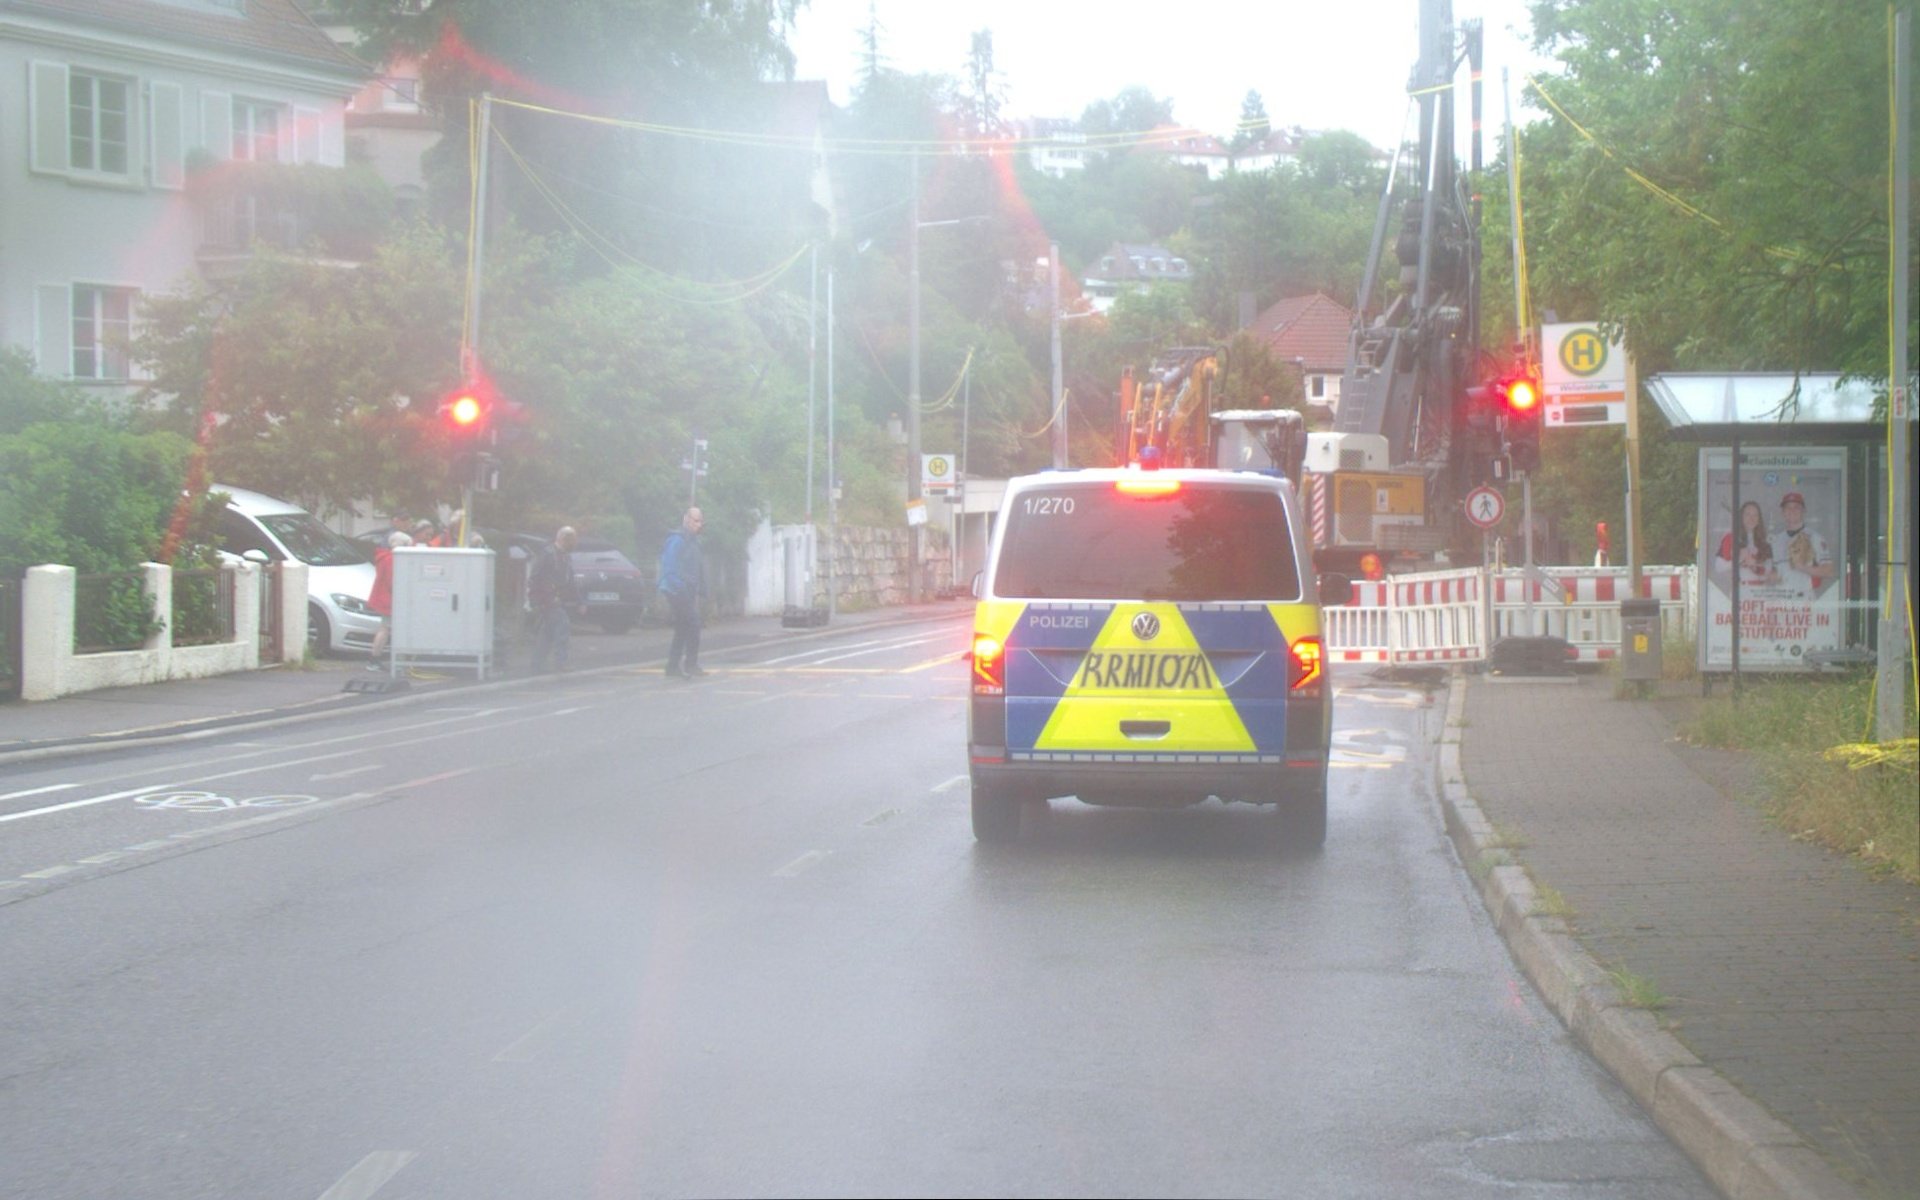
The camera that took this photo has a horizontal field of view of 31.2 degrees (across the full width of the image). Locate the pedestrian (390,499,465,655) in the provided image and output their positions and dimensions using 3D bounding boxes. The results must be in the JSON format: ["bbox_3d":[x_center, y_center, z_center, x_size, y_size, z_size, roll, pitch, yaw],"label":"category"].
[{"bbox_3d":[-5.985,-0.251,38.671,0.626,1.709,0.592,2,-1,6],"label":"pedestrian"}]

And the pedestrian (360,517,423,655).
[{"bbox_3d":[-6.303,-0.151,38.124,0.525,1.502,0.429,2,-1,6],"label":"pedestrian"}]

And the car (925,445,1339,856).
[{"bbox_3d":[1.081,0.202,19.087,1.994,2.007,4.401,0,1,7],"label":"car"}]

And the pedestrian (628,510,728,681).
[{"bbox_3d":[-3.030,-0.041,36.976,0.890,1.781,0.828,2,-1,3],"label":"pedestrian"}]

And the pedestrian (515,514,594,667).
[{"bbox_3d":[-4.349,-0.099,36.907,0.686,1.598,0.605,2,-1,3],"label":"pedestrian"}]

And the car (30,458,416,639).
[{"bbox_3d":[-8.601,-0.608,40.187,3.990,2.007,1.829,1,1,16],"label":"car"}]

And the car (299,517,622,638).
[{"bbox_3d":[-6.882,-0.307,47.519,3.990,1.481,1.758,2,-1,15],"label":"car"}]

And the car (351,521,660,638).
[{"bbox_3d":[-6.548,-0.294,49.648,3.990,1.481,1.758,2,-1,15],"label":"car"}]

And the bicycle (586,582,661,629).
[{"bbox_3d":[-5.137,0.081,52.475,1.054,0.660,0.320,2,-1,15],"label":"bicycle"}]

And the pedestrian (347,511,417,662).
[{"bbox_3d":[-6.157,-0.143,36.651,0.563,1.577,0.468,2,-1,6],"label":"pedestrian"}]

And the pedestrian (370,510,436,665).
[{"bbox_3d":[-6.062,-0.131,37.432,0.549,1.662,0.414,2,-1,6],"label":"pedestrian"}]

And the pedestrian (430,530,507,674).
[{"bbox_3d":[-5.315,0.026,37.200,0.626,1.517,0.592,2,-1,6],"label":"pedestrian"}]
